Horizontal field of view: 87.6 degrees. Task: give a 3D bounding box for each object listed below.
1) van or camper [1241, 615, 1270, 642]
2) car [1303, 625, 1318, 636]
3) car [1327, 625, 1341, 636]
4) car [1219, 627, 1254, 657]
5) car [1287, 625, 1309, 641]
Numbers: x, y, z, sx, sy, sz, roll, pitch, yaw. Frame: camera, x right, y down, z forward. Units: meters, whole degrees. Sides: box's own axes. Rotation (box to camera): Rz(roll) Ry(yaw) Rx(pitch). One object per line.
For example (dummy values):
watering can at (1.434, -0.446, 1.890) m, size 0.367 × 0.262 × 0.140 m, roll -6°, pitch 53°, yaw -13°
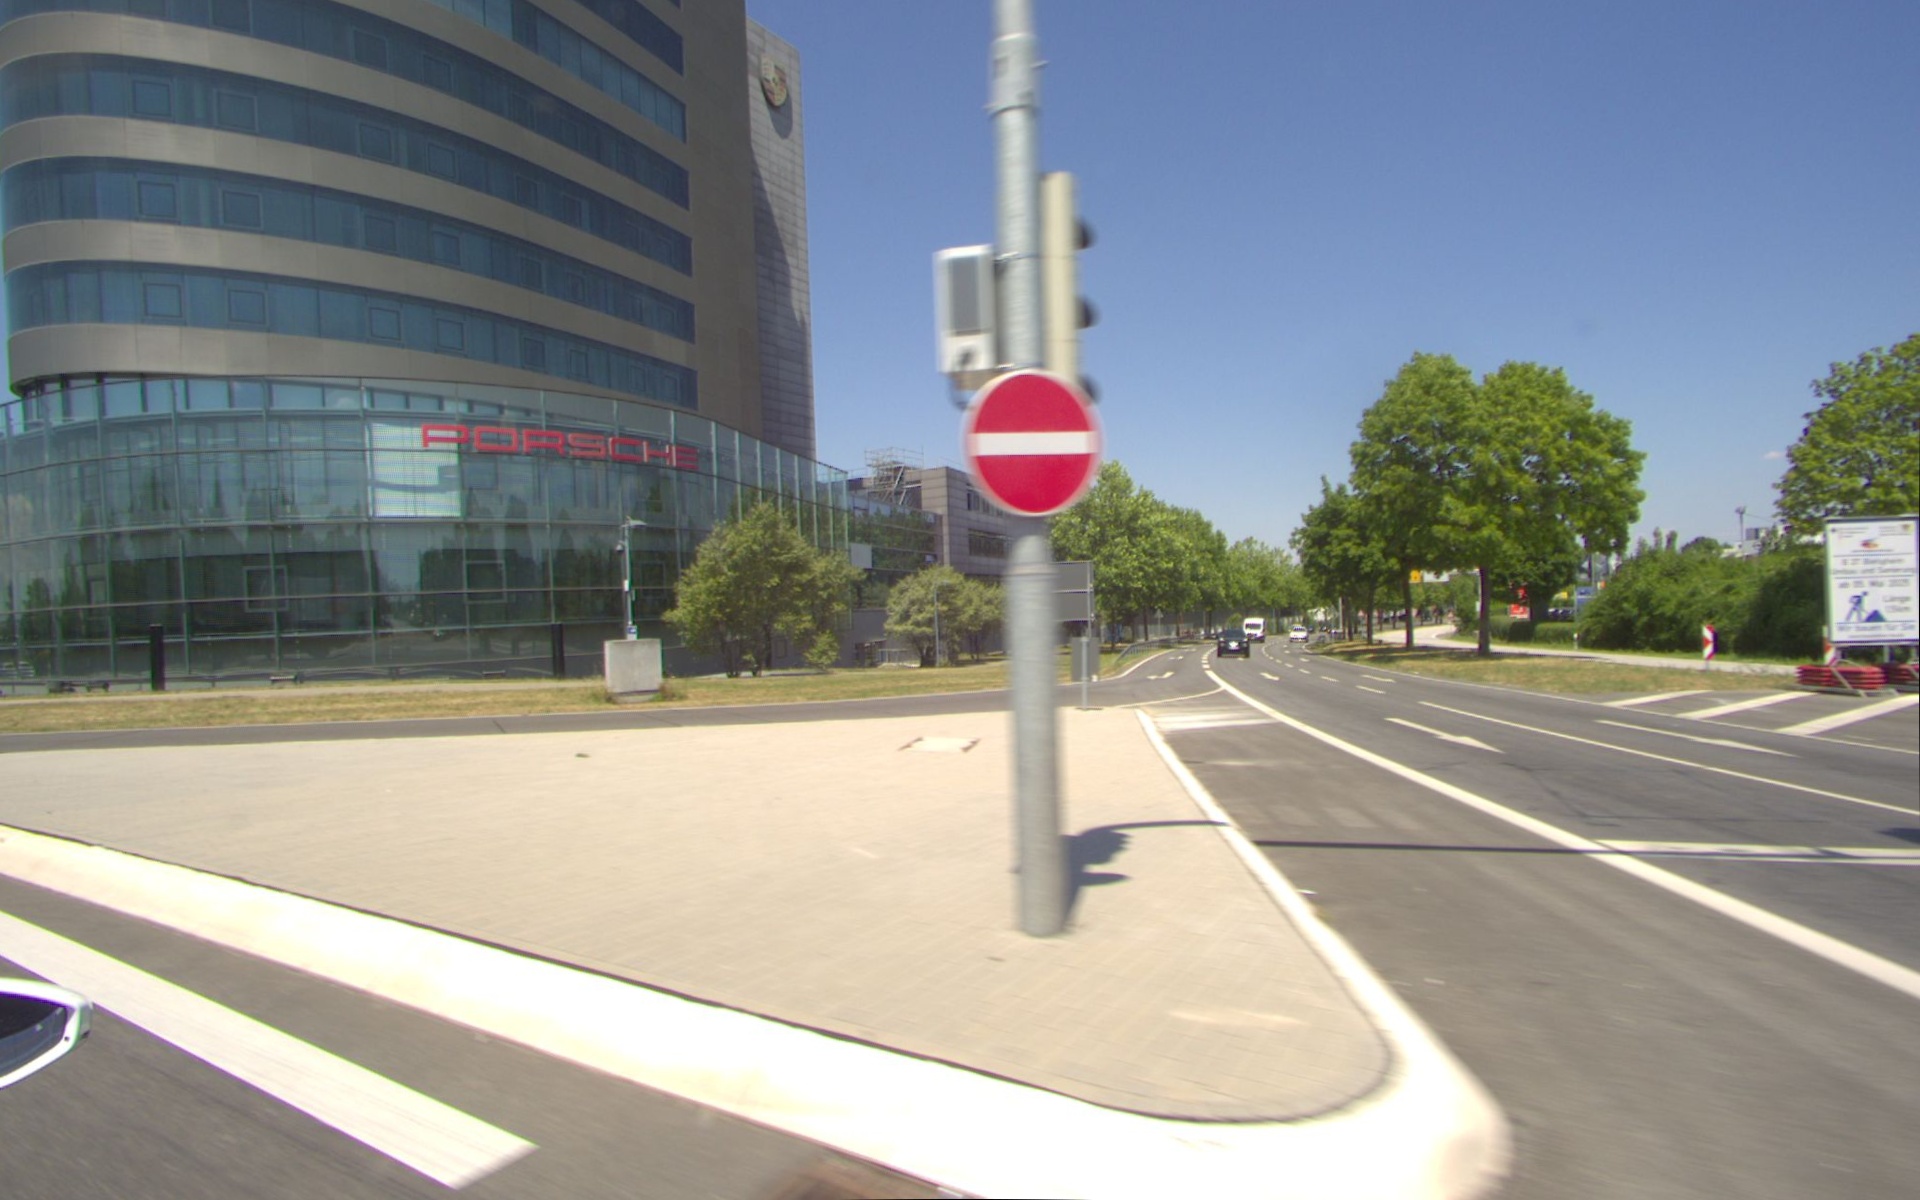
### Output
van or camper at (29.945, 2.895, 101.389) m, size 1.970 × 2.717 × 3.984 m, roll -1°, pitch -1°, yaw 29°
car at (54.910, 4.800, 156.868) m, size 1.710 × 1.683 × 3.987 m, roll -1°, pitch -2°, yaw 26°
car at (58.331, 4.767, 156.091) m, size 1.710 × 1.683 × 3.987 m, roll -1°, pitch -2°, yaw 26°
car at (15.431, 2.284, 55.683) m, size 1.637 × 1.610 × 3.994 m, roll -1°, pitch -1°, yaw 19°
car at (36.588, 3.528, 108.270) m, size 1.710 × 1.683 × 3.987 m, roll -1°, pitch -2°, yaw 26°
